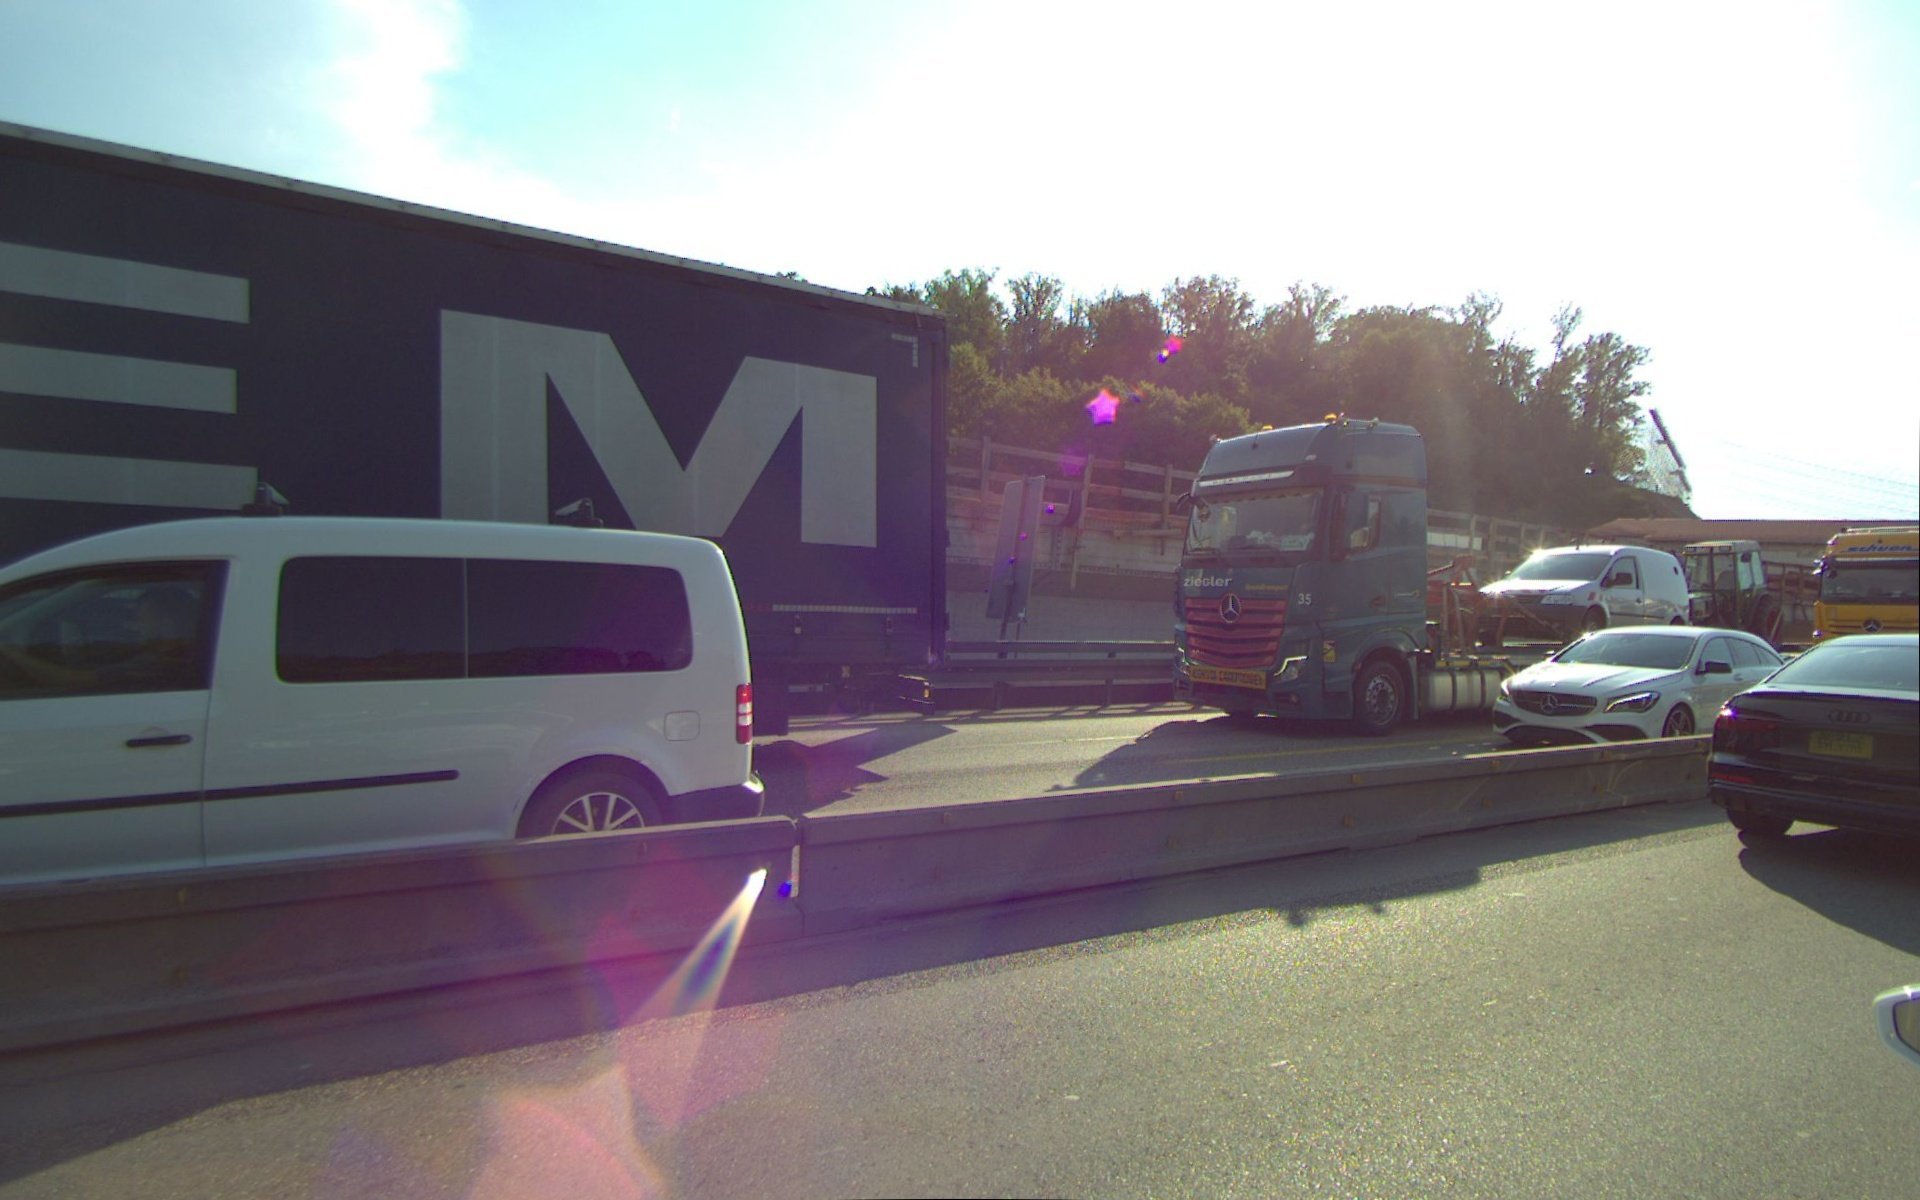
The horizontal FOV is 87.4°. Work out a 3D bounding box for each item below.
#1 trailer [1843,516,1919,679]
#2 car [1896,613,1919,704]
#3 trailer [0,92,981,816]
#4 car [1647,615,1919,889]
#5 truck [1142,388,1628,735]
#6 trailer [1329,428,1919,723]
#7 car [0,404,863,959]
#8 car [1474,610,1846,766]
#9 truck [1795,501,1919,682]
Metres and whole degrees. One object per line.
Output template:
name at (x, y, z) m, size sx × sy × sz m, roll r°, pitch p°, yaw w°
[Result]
trailer at (31.469, 0.242, 30.387) m, size 16.572 × 4.189 × 2.699 m, roll 3°, pitch -1°, yaw -33°
car at (19.958, 1.169, 19.136) m, size 4.795 × 1.666 × 1.948 m, roll 3°, pitch -1°, yaw -32°
trailer at (-5.811, -0.814, 7.202) m, size 12.347 × 4.177 × 2.702 m, roll 2°, pitch -1°, yaw -31°
car at (7.306, 0.923, 7.193) m, size 5.161 × 1.500 × 1.931 m, roll 2°, pitch -1°, yaw -30°
truck at (6.158, -0.310, 14.156) m, size 7.031 × 3.856 × 2.735 m, roll 2°, pitch -1°, yaw -31°
trailer at (13.165, -0.072, 18.453) m, size 15.865 × 3.866 × 2.735 m, roll 2°, pitch -1°, yaw -31°
car at (-3.147, 0.354, 4.794) m, size 5.074 × 1.958 × 1.814 m, roll 3°, pitch -4°, yaw -33°
car at (8.395, 0.964, 11.932) m, size 4.760 × 1.541 × 1.795 m, roll 2°, pitch -2°, yaw -30°
truck at (24.113, -0.100, 25.622) m, size 5.732 × 4.195 × 2.686 m, roll 2°, pitch -1°, yaw -33°
